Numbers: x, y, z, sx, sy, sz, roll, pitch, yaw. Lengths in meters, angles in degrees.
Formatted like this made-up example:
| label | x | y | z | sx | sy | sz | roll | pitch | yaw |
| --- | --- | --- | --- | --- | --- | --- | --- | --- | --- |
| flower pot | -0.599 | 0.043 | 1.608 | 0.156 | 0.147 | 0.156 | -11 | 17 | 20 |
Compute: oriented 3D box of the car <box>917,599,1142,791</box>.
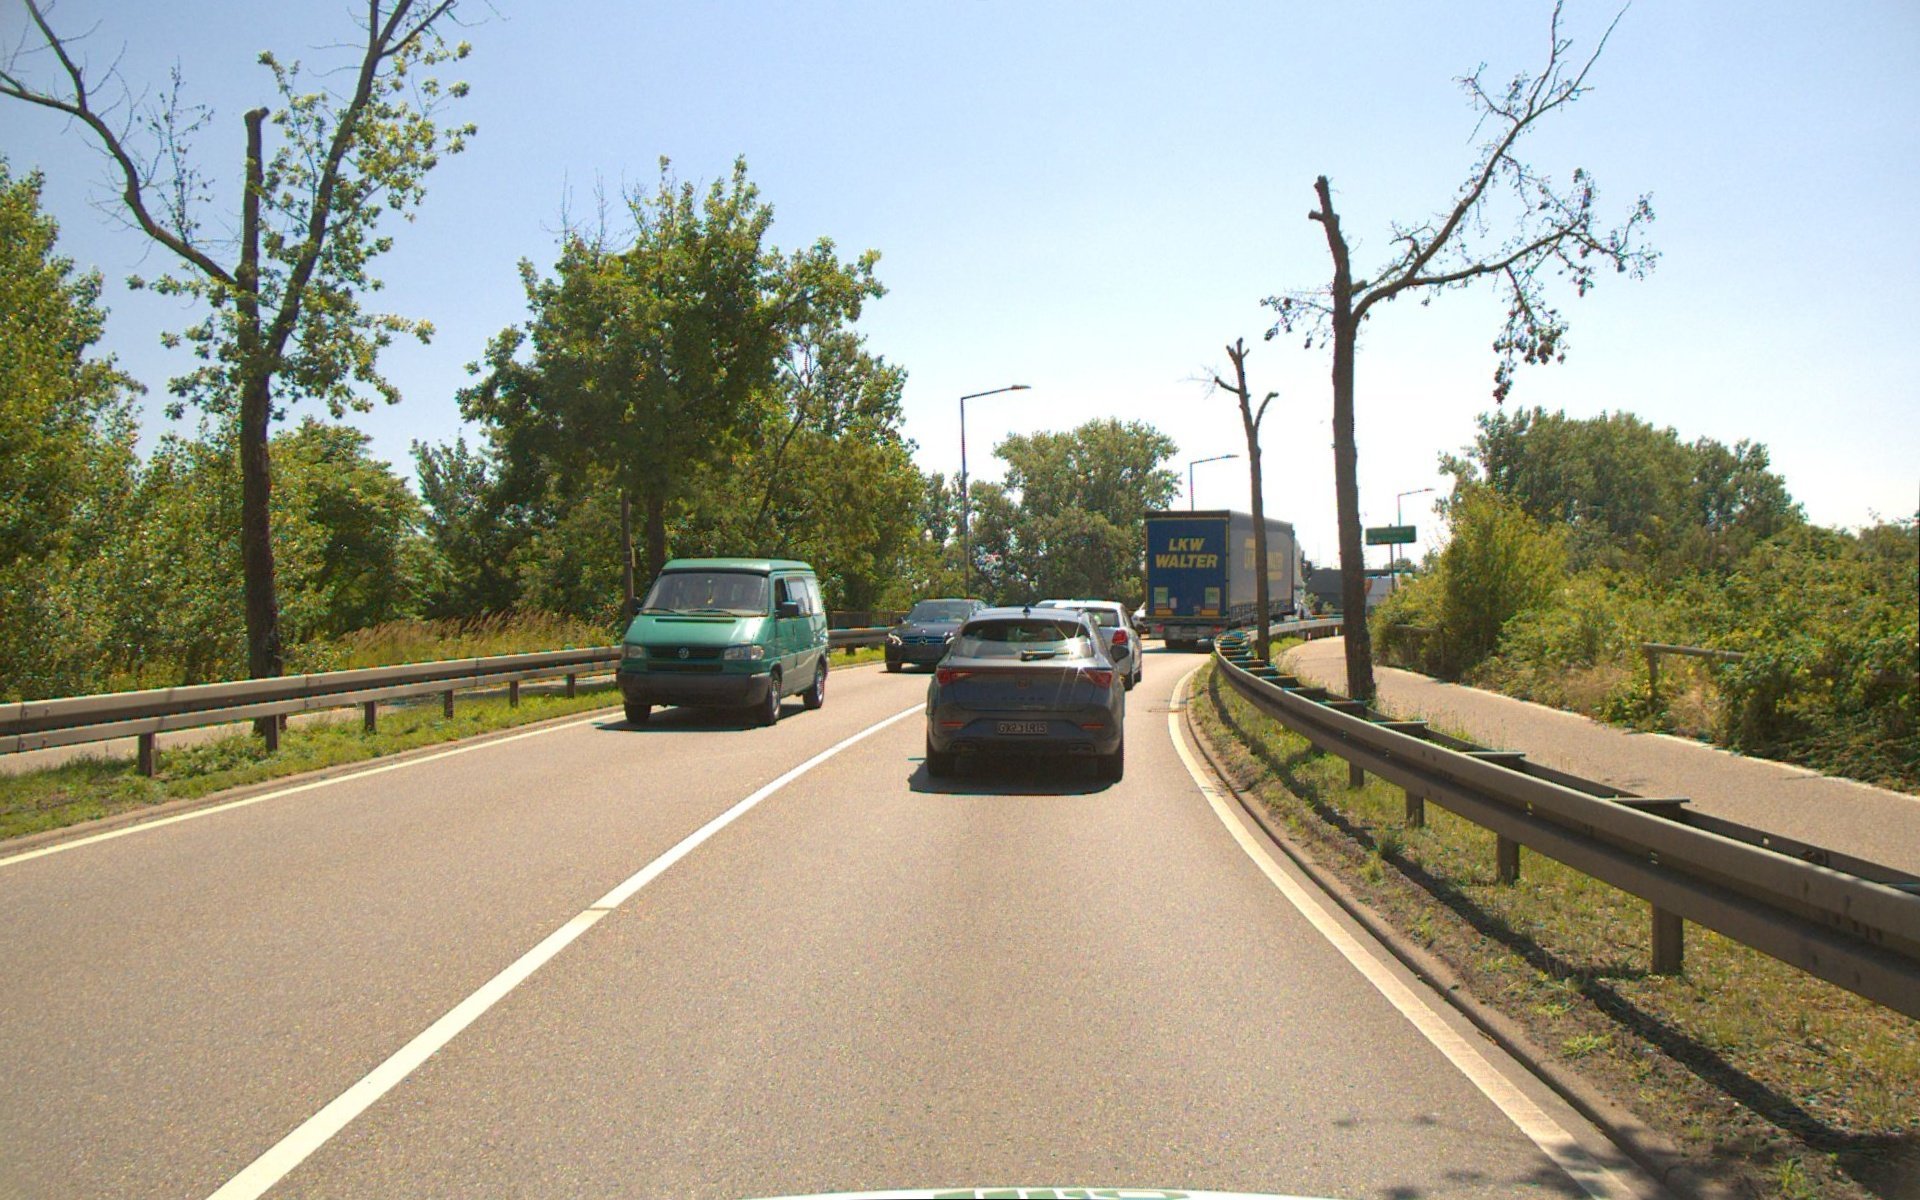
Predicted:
| label | x | y | z | sx | sy | sz | roll | pitch | yaw |
| --- | --- | --- | --- | --- | --- | --- | --- | --- | --- |
| car | 0.643 | 0.758 | 15.148 | 1.807 | 1.525 | 3.759 | 0 | 0 | 3 |

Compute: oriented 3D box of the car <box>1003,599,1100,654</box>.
| label | x | y | z | sx | sy | sz | roll | pitch | yaw |
| --- | --- | --- | --- | --- | --- | --- | --- | --- | --- |
| car | 2.643 | 0.715 | 46.926 | 1.665 | 1.472 | 4.462 | 1 | 0 | 18 |

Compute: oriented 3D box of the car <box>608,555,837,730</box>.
| label | x | y | z | sx | sy | sz | roll | pitch | yaw |
| --- | --- | --- | --- | --- | --- | --- | --- | --- | --- |
| car | -2.862 | 0.476 | 21.059 | 1.791 | 1.972 | 4.779 | 0 | 0 | 6 |

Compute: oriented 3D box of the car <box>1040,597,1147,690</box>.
| label | x | y | z | sx | sy | sz | roll | pitch | yaw |
| --- | --- | --- | --- | --- | --- | --- | --- | --- | --- |
| car | 2.377 | 0.709 | 28.763 | 1.559 | 1.486 | 3.548 | 1 | 0 | 9 |

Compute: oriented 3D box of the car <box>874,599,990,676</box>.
| label | x | y | z | sx | sy | sz | roll | pitch | yaw |
| --- | --- | --- | --- | --- | --- | --- | --- | --- | --- |
| car | -0.512 | 0.730 | 34.903 | 1.807 | 1.493 | 4.744 | 0 | 0 | 7 |

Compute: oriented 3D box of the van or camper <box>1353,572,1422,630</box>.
| label | x | y | z | sx | sy | sz | roll | pitch | yaw |
| --- | --- | --- | --- | --- | --- | --- | --- | --- | --- |
| van or camper | 21.277 | 0.042 | 82.131 | 2.160 | 2.758 | 5.920 | 0 | 0 | 26 |

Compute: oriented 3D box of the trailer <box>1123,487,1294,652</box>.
| label | x | y | z | sx | sy | sz | roll | pitch | yaw |
| --- | --- | --- | --- | --- | --- | --- | --- | --- | --- |
| trailer | 8.351 | -0.847 | 53.668 | 3.069 | 4.695 | 12.951 | 1 | 0 | 19 |

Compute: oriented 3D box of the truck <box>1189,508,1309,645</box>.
| label | x | y | z | sx | sy | sz | roll | pitch | yaw |
| --- | --- | --- | --- | --- | --- | --- | --- | --- | --- |
| truck | 10.608 | -0.773 | 60.079 | 3.104 | 4.665 | 7.398 | 1 | -1 | 19 |

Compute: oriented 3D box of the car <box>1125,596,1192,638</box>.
| label | x | y | z | sx | sy | sz | roll | pitch | yaw |
| --- | --- | --- | --- | --- | --- | --- | --- | --- | --- |
| car | 7.617 | 0.625 | 63.171 | 1.709 | 1.573 | 4.395 | 0 | 0 | 18 |
